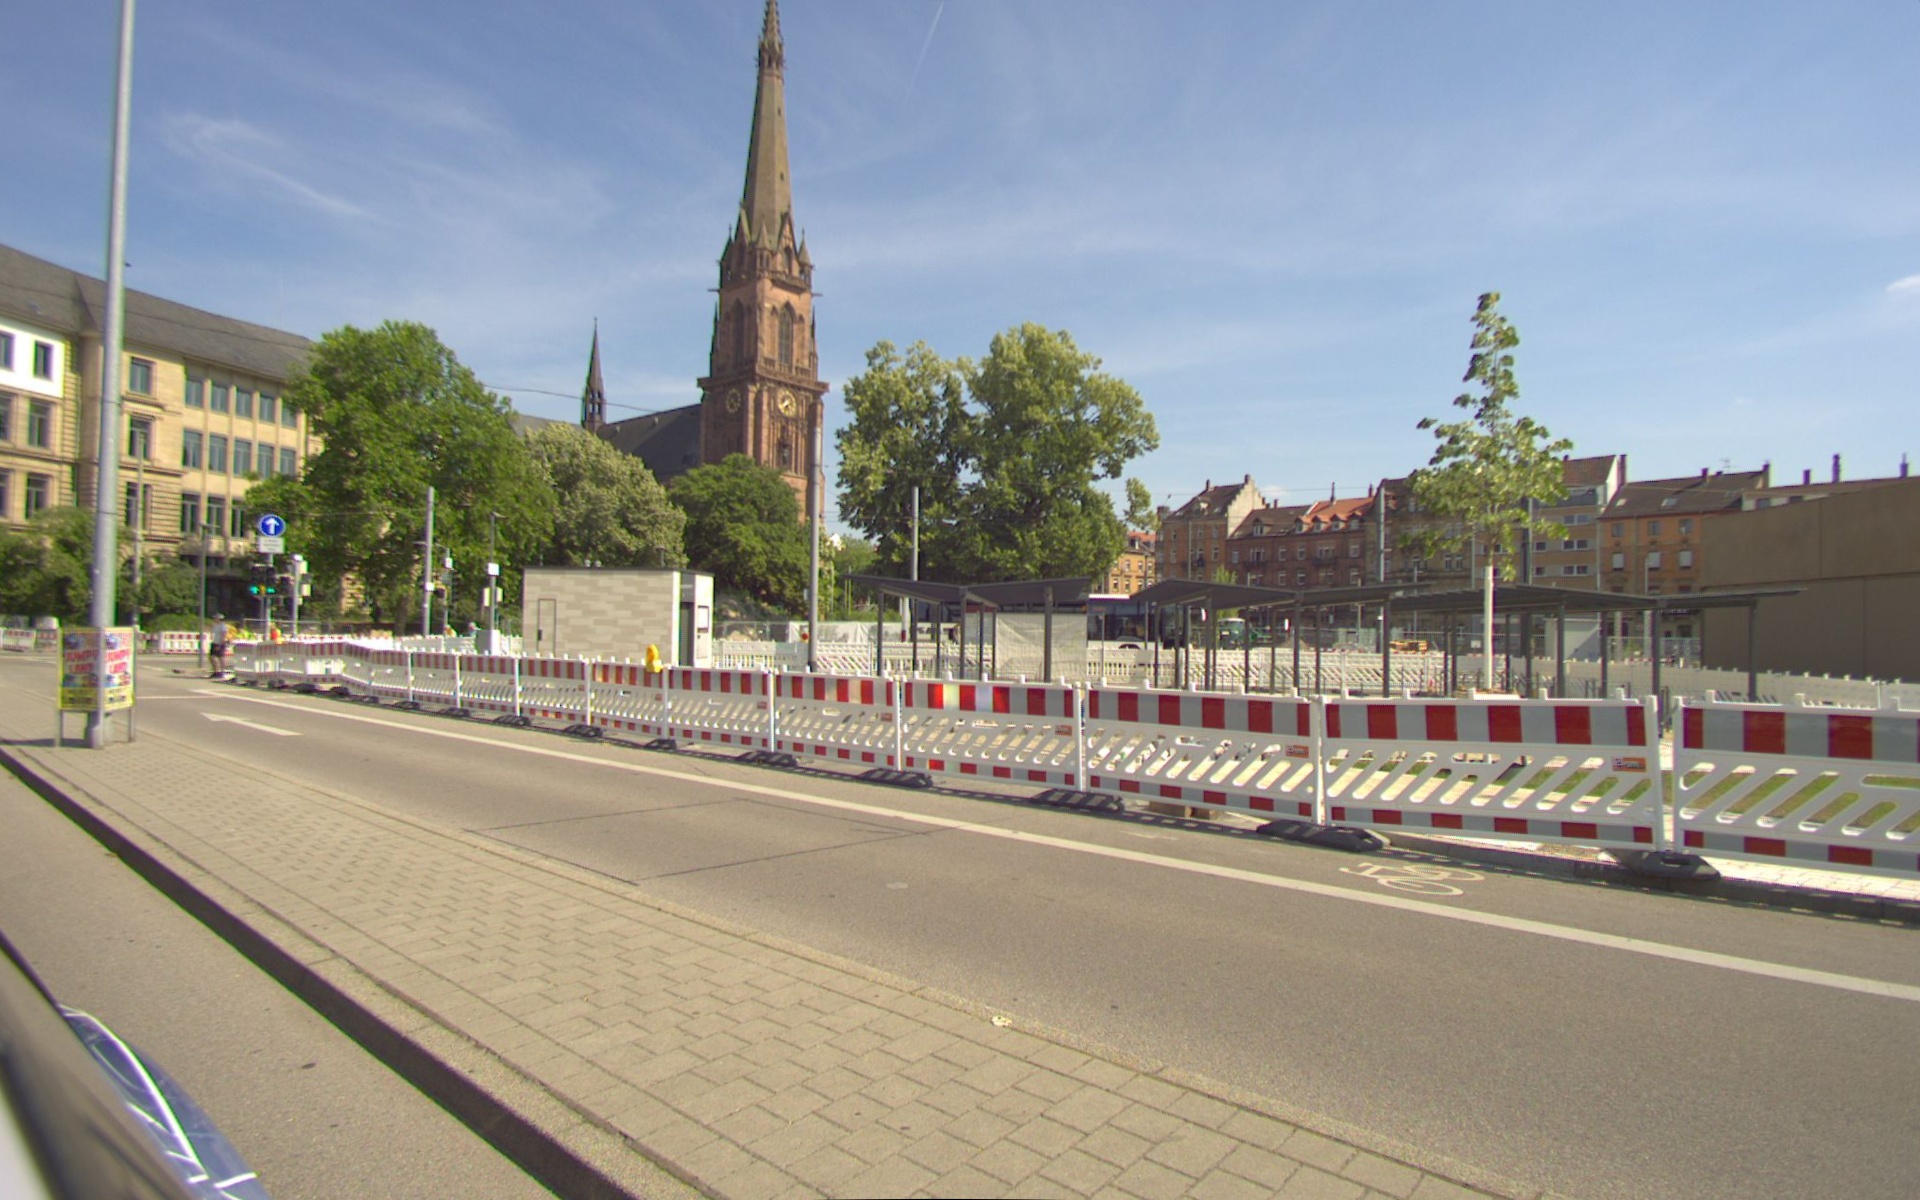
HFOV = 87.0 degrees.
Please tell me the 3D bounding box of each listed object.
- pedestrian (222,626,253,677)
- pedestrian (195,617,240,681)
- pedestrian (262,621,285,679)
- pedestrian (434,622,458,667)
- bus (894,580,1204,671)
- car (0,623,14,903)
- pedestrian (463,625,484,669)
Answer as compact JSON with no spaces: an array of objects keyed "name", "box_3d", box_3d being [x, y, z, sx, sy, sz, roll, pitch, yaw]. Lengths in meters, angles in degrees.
[{"name":"pedestrian","box_3d":[-22.587,1.594,31.645,0.660,1.555,0.422,-1,0,9]},{"name":"pedestrian","box_3d":[-21.387,1.396,29.156,0.828,1.826,0.651,0,-2,-11]},{"name":"pedestrian","box_3d":[-19.520,1.416,28.779,0.686,1.628,0.346,-1,-3,42]},{"name":"pedestrian","box_3d":[-18.774,1.612,36.975,0.651,1.628,0.796,0,-2,-16]},{"name":"bus","box_3d":[3.641,1.049,42.448,12.504,3.516,2.856,1,-2,7]},{"name":"car","box_3d":[-6.364,0.841,5.052,4.824,1.530,1.840,0,-2,41]},{"name":"pedestrian","box_3d":[-18.339,1.765,38.144,0.576,1.628,0.691,0,-2,-16]}]
